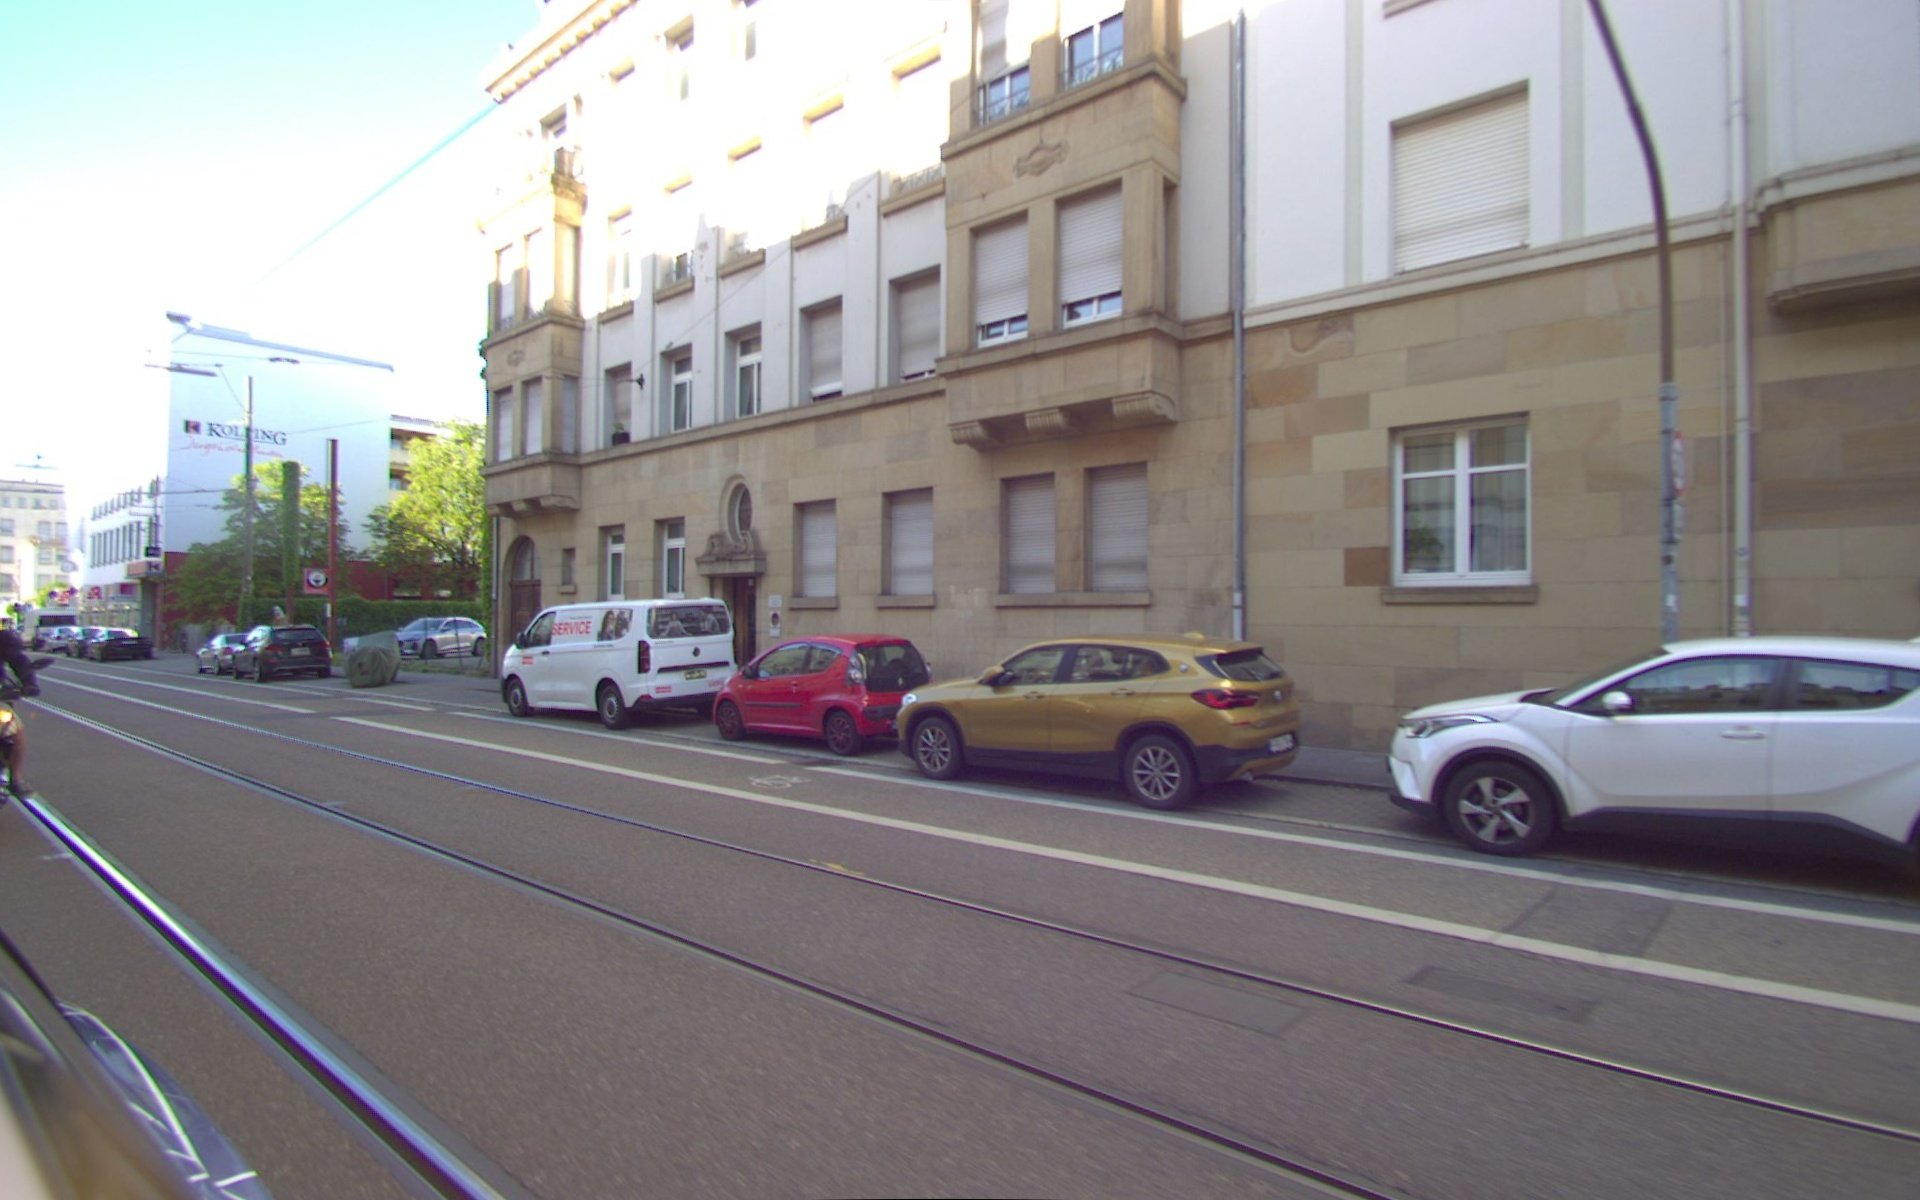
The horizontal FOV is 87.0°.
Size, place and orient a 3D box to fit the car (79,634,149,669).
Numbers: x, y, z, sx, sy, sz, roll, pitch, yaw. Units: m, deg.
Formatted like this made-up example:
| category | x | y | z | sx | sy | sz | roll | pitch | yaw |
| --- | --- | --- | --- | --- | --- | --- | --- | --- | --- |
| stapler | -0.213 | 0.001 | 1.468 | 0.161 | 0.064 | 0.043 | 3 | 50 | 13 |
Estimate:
| category | x | y | z | sx | sy | sz | roll | pitch | yaw |
| --- | --- | --- | --- | --- | --- | --- | --- | --- | --- |
| car | -37.823 | 2.259 | 45.203 | 4.840 | 1.457 | 1.764 | -2 | -1 | 42 |

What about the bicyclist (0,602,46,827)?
| category | x | y | z | sx | sy | sz | roll | pitch | yaw |
| --- | --- | --- | --- | --- | --- | --- | --- | --- | --- |
| bicyclist | -7.103 | 0.797 | 7.207 | 0.939 | 1.552 | 0.764 | -2 | -3 | 44 |

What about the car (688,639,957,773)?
| category | x | y | z | sx | sy | sz | roll | pitch | yaw |
| --- | --- | --- | --- | --- | --- | --- | --- | --- | --- |
| car | -1.925 | 1.293 | 13.537 | 3.645 | 1.484 | 1.586 | -2 | -1 | 42 |

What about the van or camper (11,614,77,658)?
| category | x | y | z | sx | sy | sz | roll | pitch | yaw |
| --- | --- | --- | --- | --- | --- | --- | --- | --- | --- |
| van or camper | -54.150 | 2.099 | 59.792 | 6.228 | 2.486 | 2.149 | -2 | -1 | 41 |

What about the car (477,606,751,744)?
| category | x | y | z | sx | sy | sz | roll | pitch | yaw |
| --- | --- | --- | --- | --- | --- | --- | --- | --- | --- |
| car | -5.932 | 1.126 | 16.963 | 5.248 | 1.963 | 1.953 | -1 | -1 | 41 |

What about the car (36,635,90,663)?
| category | x | y | z | sx | sy | sz | roll | pitch | yaw |
| --- | --- | --- | --- | --- | --- | --- | --- | --- | --- |
| car | -48.850 | 2.629 | 55.097 | 4.445 | 1.409 | 1.764 | -2 | -1 | 43 |

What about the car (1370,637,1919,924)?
| category | x | y | z | sx | sy | sz | roll | pitch | yaw |
| --- | --- | --- | --- | --- | --- | --- | --- | --- | --- |
| car | 5.321 | 1.060 | 6.885 | 4.361 | 1.559 | 1.754 | -1 | -1 | 40 |

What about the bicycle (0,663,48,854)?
| category | x | y | z | sx | sy | sz | roll | pitch | yaw |
| --- | --- | --- | --- | --- | --- | --- | --- | --- | --- |
| bicycle | -7.055 | 1.076 | 7.143 | 1.752 | 1.208 | 0.757 | -2 | -3 | 44 |

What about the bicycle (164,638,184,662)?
| category | x | y | z | sx | sy | sz | roll | pitch | yaw |
| --- | --- | --- | --- | --- | --- | --- | --- | --- | --- |
| bicycle | -38.687 | 2.448 | 49.814 | 2.050 | 1.183 | 0.435 | -1 | -2 | 43 |

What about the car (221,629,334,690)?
| category | x | y | z | sx | sy | sz | roll | pitch | yaw |
| --- | --- | --- | --- | --- | --- | --- | --- | --- | --- |
| car | -19.775 | 1.658 | 29.255 | 4.611 | 1.577 | 1.763 | -2 | -1 | 44 |

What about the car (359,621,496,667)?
| category | x | y | z | sx | sy | sz | roll | pitch | yaw |
| --- | --- | --- | --- | --- | --- | --- | --- | --- | --- |
| car | -19.180 | 1.576 | 36.708 | 1.977 | 1.529 | 4.784 | 0 | -2 | 8 |

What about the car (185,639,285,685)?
| category | x | y | z | sx | sy | sz | roll | pitch | yaw |
| --- | --- | --- | --- | --- | --- | --- | --- | --- | --- |
| car | -23.585 | 1.975 | 32.855 | 4.219 | 1.324 | 1.764 | -2 | -1 | 42 |

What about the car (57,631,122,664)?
| category | x | y | z | sx | sy | sz | roll | pitch | yaw |
| --- | --- | --- | --- | --- | --- | --- | --- | --- | --- |
| car | -42.185 | 2.276 | 49.002 | 4.697 | 1.492 | 1.765 | -2 | -1 | 41 |

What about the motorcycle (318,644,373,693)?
| category | x | y | z | sx | sy | sz | roll | pitch | yaw |
| --- | --- | --- | --- | --- | --- | --- | --- | --- | --- |
| motorcycle | -15.954 | 1.761 | 26.335 | 0.729 | 1.180 | 2.186 | 1 | -2 | -19 |

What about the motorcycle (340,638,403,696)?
| category | x | y | z | sx | sy | sz | roll | pitch | yaw |
| --- | --- | --- | --- | --- | --- | --- | --- | --- | --- |
| motorcycle | -14.534 | 1.617 | 25.043 | 0.871 | 1.361 | 1.963 | 1 | -2 | -16 |

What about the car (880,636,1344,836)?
| category | x | y | z | sx | sy | sz | roll | pitch | yaw |
| --- | --- | --- | --- | --- | --- | --- | --- | --- | --- |
| car | 1.362 | 1.163 | 10.212 | 4.357 | 1.535 | 1.765 | -1 | -1 | 41 |
